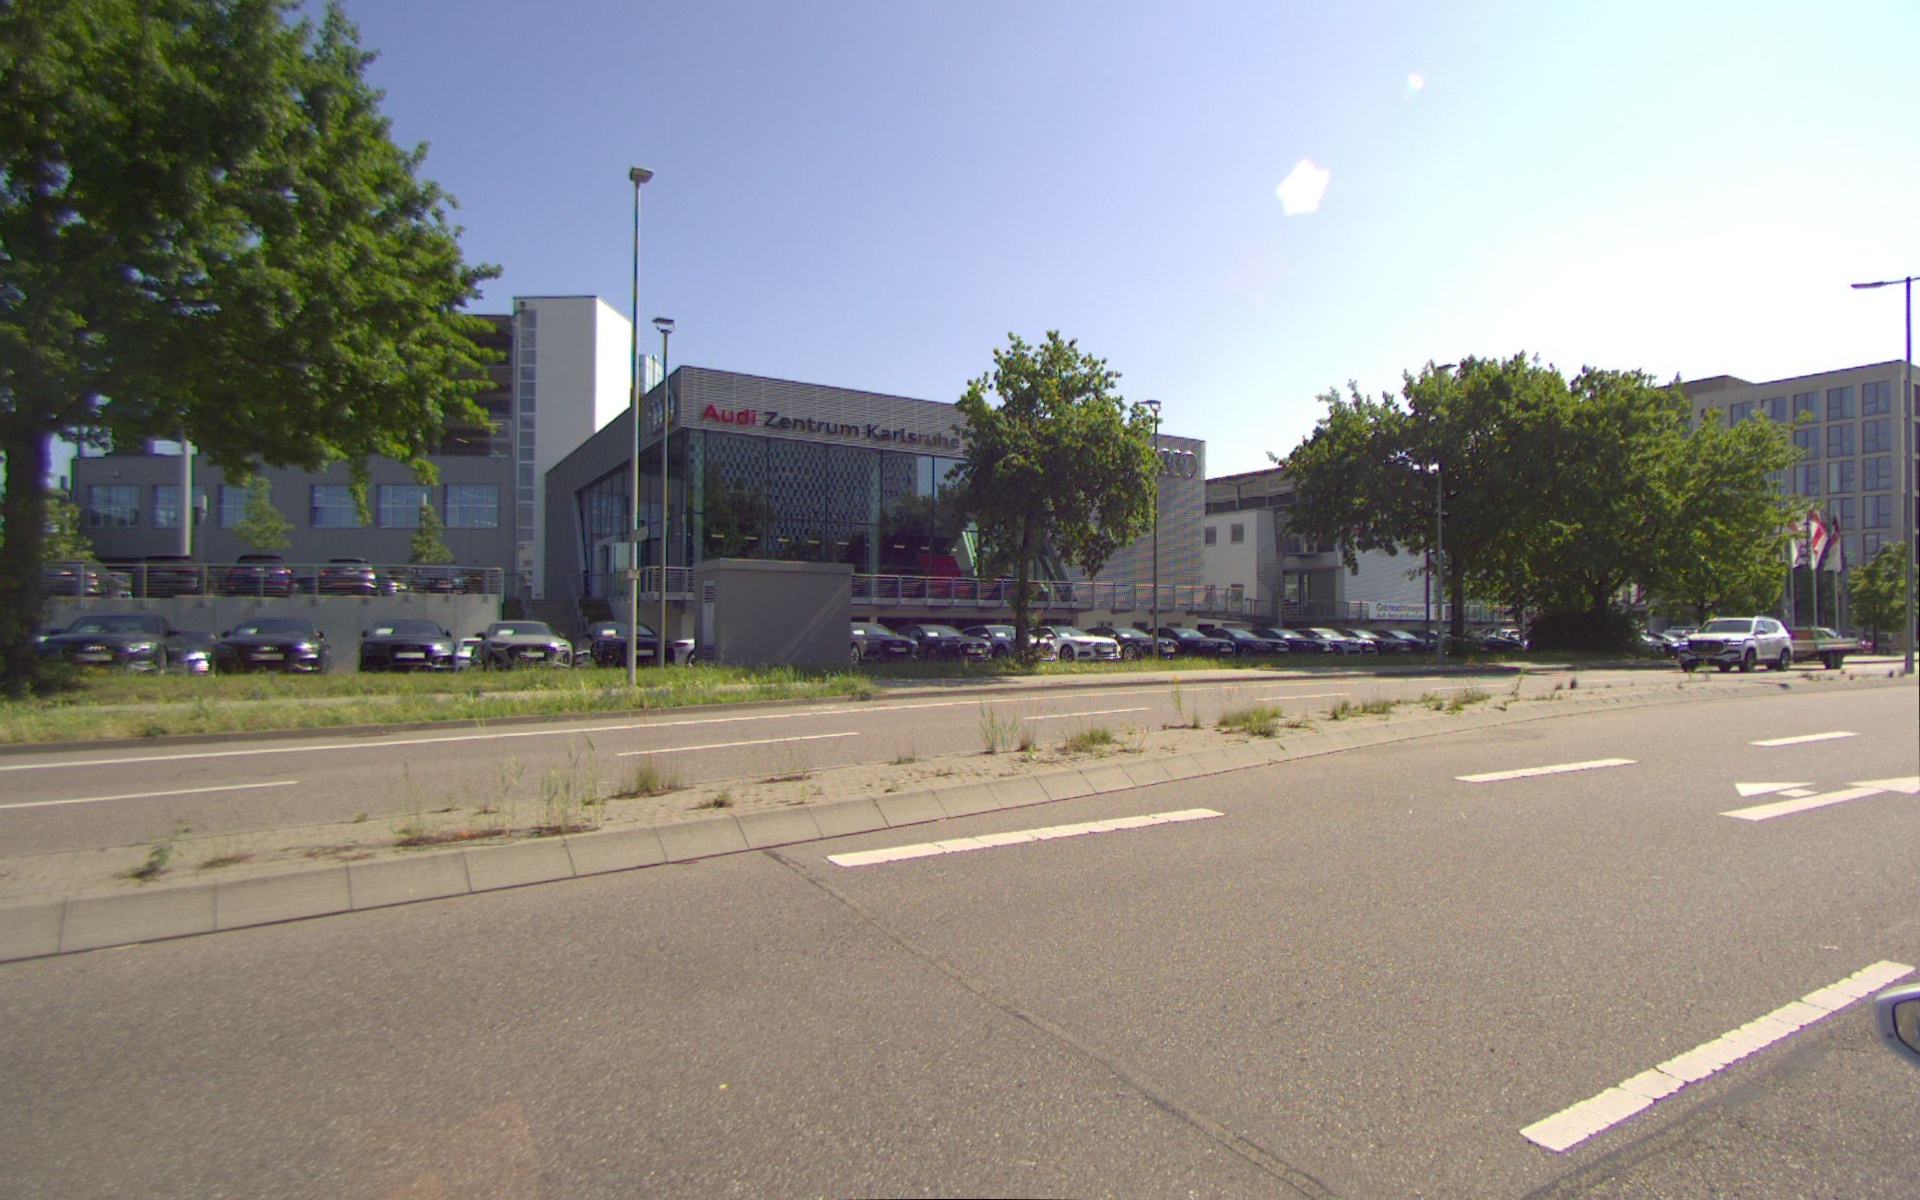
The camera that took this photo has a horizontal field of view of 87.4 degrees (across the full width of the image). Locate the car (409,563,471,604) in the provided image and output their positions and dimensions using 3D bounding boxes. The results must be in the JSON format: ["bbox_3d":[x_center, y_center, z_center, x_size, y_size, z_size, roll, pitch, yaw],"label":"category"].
[{"bbox_3d":[-19.904,-0.573,38.354,1.931,1.368,4.247,1,-2,-30],"label":"car"}]

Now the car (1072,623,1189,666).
[{"bbox_3d":[5.839,1.506,34.767,1.902,1.394,3.968,1,-2,-30],"label":"car"}]

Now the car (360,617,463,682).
[{"bbox_3d":[-12.766,1.098,23.488,1.930,1.368,4.249,1,-2,-28],"label":"car"}]

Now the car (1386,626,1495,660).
[{"bbox_3d":[20.956,1.844,43.929,1.902,1.394,3.968,1,-2,-30],"label":"car"}]

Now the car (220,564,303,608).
[{"bbox_3d":[-24.266,-0.433,35.030,1.931,1.368,4.247,1,-2,-30],"label":"car"}]

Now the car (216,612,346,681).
[{"bbox_3d":[-14.925,0.984,22.307,1.930,1.368,4.249,1,-2,-28],"label":"car"}]

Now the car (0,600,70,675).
[{"bbox_3d":[-19.257,0.701,19.534,1.930,1.368,4.249,1,-2,-28],"label":"car"}]

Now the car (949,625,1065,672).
[{"bbox_3d":[1.434,1.504,32.151,1.844,1.394,3.968,1,-2,-30],"label":"car"}]

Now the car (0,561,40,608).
[{"bbox_3d":[-30.577,-0.489,31.253,1.931,1.368,4.247,1,-2,-30],"label":"car"}]

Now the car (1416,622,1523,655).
[{"bbox_3d":[23.044,1.718,45.565,1.902,1.394,3.968,1,-2,-30],"label":"car"}]

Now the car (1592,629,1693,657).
[{"bbox_3d":[35.722,2.216,52.664,1.978,1.361,3.966,1,-2,-31],"label":"car"}]

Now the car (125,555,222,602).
[{"bbox_3d":[-26.271,-0.664,33.702,1.931,1.368,4.247,1,-2,-30],"label":"car"}]

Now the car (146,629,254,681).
[{"bbox_3d":[-22.153,1.563,29.445,1.931,1.368,4.247,1,-2,-30],"label":"car"}]

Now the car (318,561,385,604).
[{"bbox_3d":[-22.272,-0.591,36.877,1.931,1.368,4.247,1,-2,-30],"label":"car"}]

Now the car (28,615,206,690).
[{"bbox_3d":[-17.203,1.020,20.743,1.930,1.368,4.249,1,-2,-28],"label":"car"}]

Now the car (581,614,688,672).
[{"bbox_3d":[-8.535,1.063,26.087,1.930,1.368,4.249,1,-2,-28],"label":"car"}]

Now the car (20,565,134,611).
[{"bbox_3d":[-28.871,-0.340,32.997,1.931,1.368,4.247,1,-2,-30],"label":"car"}]

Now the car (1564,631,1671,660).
[{"bbox_3d":[33.513,2.281,51.277,1.978,1.361,4.129,1,-2,-31],"label":"car"}]

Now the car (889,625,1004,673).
[{"bbox_3d":[-0.494,1.468,31.020,1.844,1.394,3.968,1,-2,-30],"label":"car"}]

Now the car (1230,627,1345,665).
[{"bbox_3d":[12.529,1.738,38.650,1.902,1.394,3.968,1,-2,-30],"label":"car"}]

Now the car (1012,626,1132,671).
[{"bbox_3d":[3.679,1.563,33.576,2.002,1.394,4.023,1,-2,-30],"label":"car"}]

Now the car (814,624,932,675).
[{"bbox_3d":[-2.627,1.416,29.578,1.977,1.394,3.968,1,-2,-30],"label":"car"}]

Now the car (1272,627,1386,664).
[{"bbox_3d":[14.578,1.764,39.877,1.902,1.394,3.968,1,-2,-30],"label":"car"}]

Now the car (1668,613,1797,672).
[{"bbox_3d":[25.950,1.406,33.703,4.885,1.857,1.982,1,-2,-34],"label":"car"}]

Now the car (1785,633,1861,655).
[{"bbox_3d":[55.913,2.820,65.123,1.624,1.361,3.398,1,-2,-28],"label":"car"}]

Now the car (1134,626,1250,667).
[{"bbox_3d":[8.264,1.627,36.131,1.902,1.394,3.968,1,-2,-30],"label":"car"}]

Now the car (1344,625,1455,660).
[{"bbox_3d":[18.500,1.779,42.399,1.902,1.394,3.968,1,-2,-30],"label":"car"}]

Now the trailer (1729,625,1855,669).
[{"bbox_3d":[30.415,1.680,36.662,5.711,1.472,1.982,1,-2,-34],"label":"trailer"}]

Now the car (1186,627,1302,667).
[{"bbox_3d":[10.512,1.700,37.399,1.902,1.394,3.968,1,-2,-30],"label":"car"}]

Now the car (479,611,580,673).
[{"bbox_3d":[-10.715,0.998,24.859,1.930,1.368,4.249,1,-2,-28],"label":"car"}]

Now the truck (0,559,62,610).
[{"bbox_3d":[-57.292,-0.960,58.085,2.612,2.955,8.468,0,-2,5],"label":"truck"}]

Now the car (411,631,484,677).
[{"bbox_3d":[-16.822,1.725,32.879,1.931,1.368,4.247,1,-2,-30],"label":"car"}]

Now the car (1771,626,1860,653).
[{"bbox_3d":[66.068,3.026,77.662,1.976,2.077,4.893,1,-2,-29],"label":"car"}]

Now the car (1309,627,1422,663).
[{"bbox_3d":[16.542,1.796,41.142,1.902,1.394,3.968,1,-2,-30],"label":"car"}]

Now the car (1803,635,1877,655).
[{"bbox_3d":[69.112,3.510,78.971,1.976,1.483,3.970,1,-2,-29],"label":"car"}]
